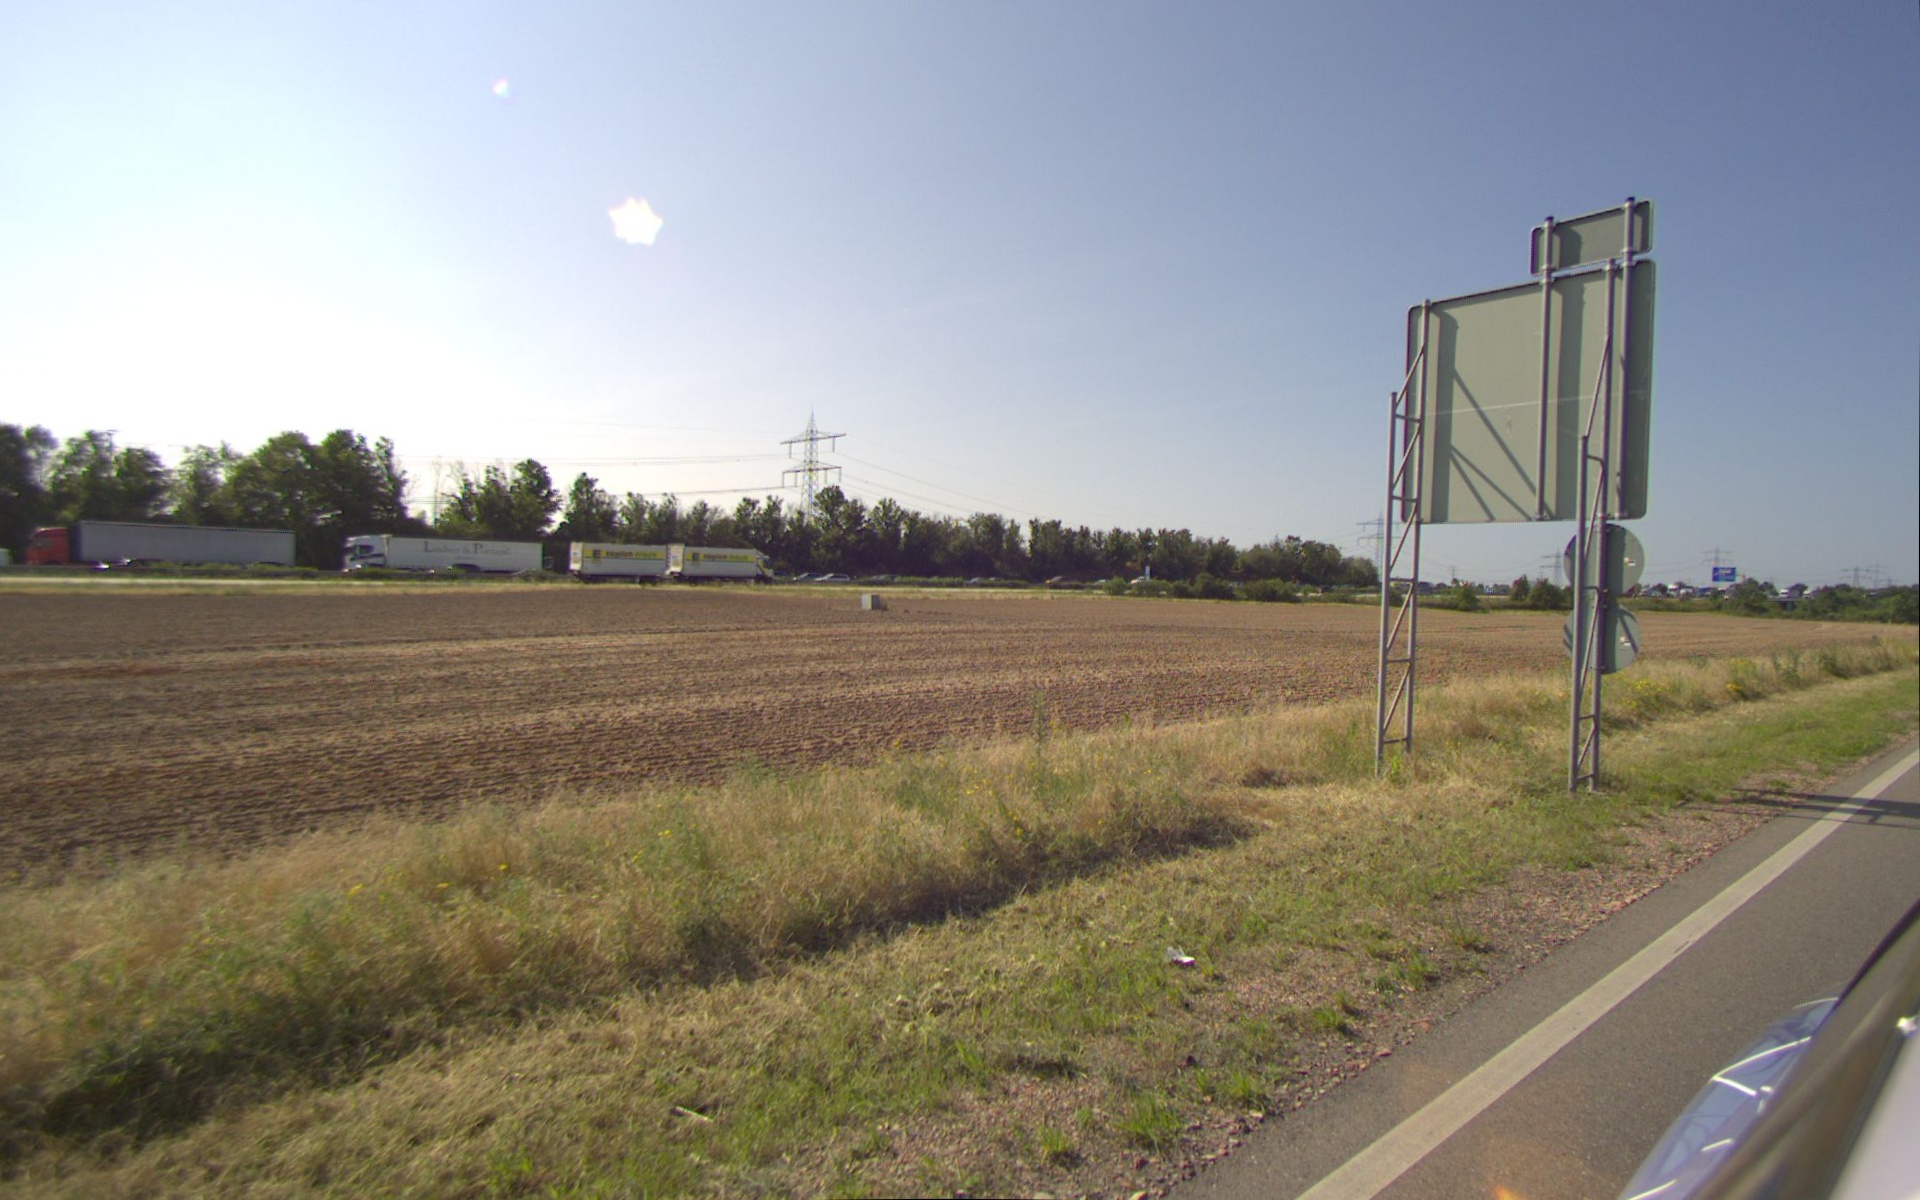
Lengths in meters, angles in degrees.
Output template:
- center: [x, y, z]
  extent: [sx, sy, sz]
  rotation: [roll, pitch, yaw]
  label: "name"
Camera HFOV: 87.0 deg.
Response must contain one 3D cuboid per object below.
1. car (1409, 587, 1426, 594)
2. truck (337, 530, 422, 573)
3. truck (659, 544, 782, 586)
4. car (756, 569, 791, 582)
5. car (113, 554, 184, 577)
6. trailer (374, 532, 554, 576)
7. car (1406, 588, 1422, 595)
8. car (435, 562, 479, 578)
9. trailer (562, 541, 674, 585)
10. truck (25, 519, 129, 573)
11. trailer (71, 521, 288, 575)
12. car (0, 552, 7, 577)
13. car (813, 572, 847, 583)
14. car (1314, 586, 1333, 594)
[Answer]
- center: [82.531, -1.653, 182.510]
  extent: [3.489, 1.279, 1.581]
  rotation: [0, 0, -41]
  label: "car"
- center: [-51.467, -4.249, 89.816]
  extent: [6.004, 3.575, 3.208]
  rotation: [0, 2, -42]
  label: "truck"
- center: [-21.693, -3.156, 92.271]
  extent: [10.931, 3.521, 2.810]
  rotation: [0, 1, -43]
  label: "truck"
- center: [-20.018, -2.632, 108.793]
  extent: [3.601, 1.323, 1.341]
  rotation: [0, 1, -44]
  label: "car"
- center: [-59.564, -2.524, 74.297]
  extent: [4.023, 1.528, 1.705]
  rotation: [0, 0, -42]
  label: "car"
- center: [-46.093, -4.235, 94.718]
  extent: [14.825, 3.574, 3.207]
  rotation: [0, 2, -42]
  label: "trailer"
- center: [86.418, -1.656, 192.596]
  extent: [3.489, 1.279, 1.581]
  rotation: [0, 0, -41]
  label: "car"
- center: [-43.688, -2.602, 87.917]
  extent: [3.237, 1.234, 1.342]
  rotation: [0, 1, -44]
  label: "car"
- center: [-28.851, -3.075, 85.708]
  extent: [8.569, 3.458, 2.797]
  rotation: [0, 1, -43]
  label: "trailer"
- center: [-66.722, -4.026, 76.577]
  extent: [5.768, 3.780, 2.950]
  rotation: [0, 1, -42]
  label: "truck"
- center: [-61.986, -4.029, 80.835]
  extent: [13.545, 3.780, 2.950]
  rotation: [0, 1, -42]
  label: "trailer"
- center: [-66.726, -2.433, 67.877]
  extent: [4.024, 1.659, 1.705]
  rotation: [0, 0, -43]
  label: "car"
- center: [-14.641, -2.553, 114.115]
  extent: [3.796, 1.139, 1.342]
  rotation: [0, 1, -42]
  label: "car"
- center: [61.030, -1.659, 170.030]
  extent: [3.489, 1.279, 1.581]
  rotation: [0, 0, -41]
  label: "car"
